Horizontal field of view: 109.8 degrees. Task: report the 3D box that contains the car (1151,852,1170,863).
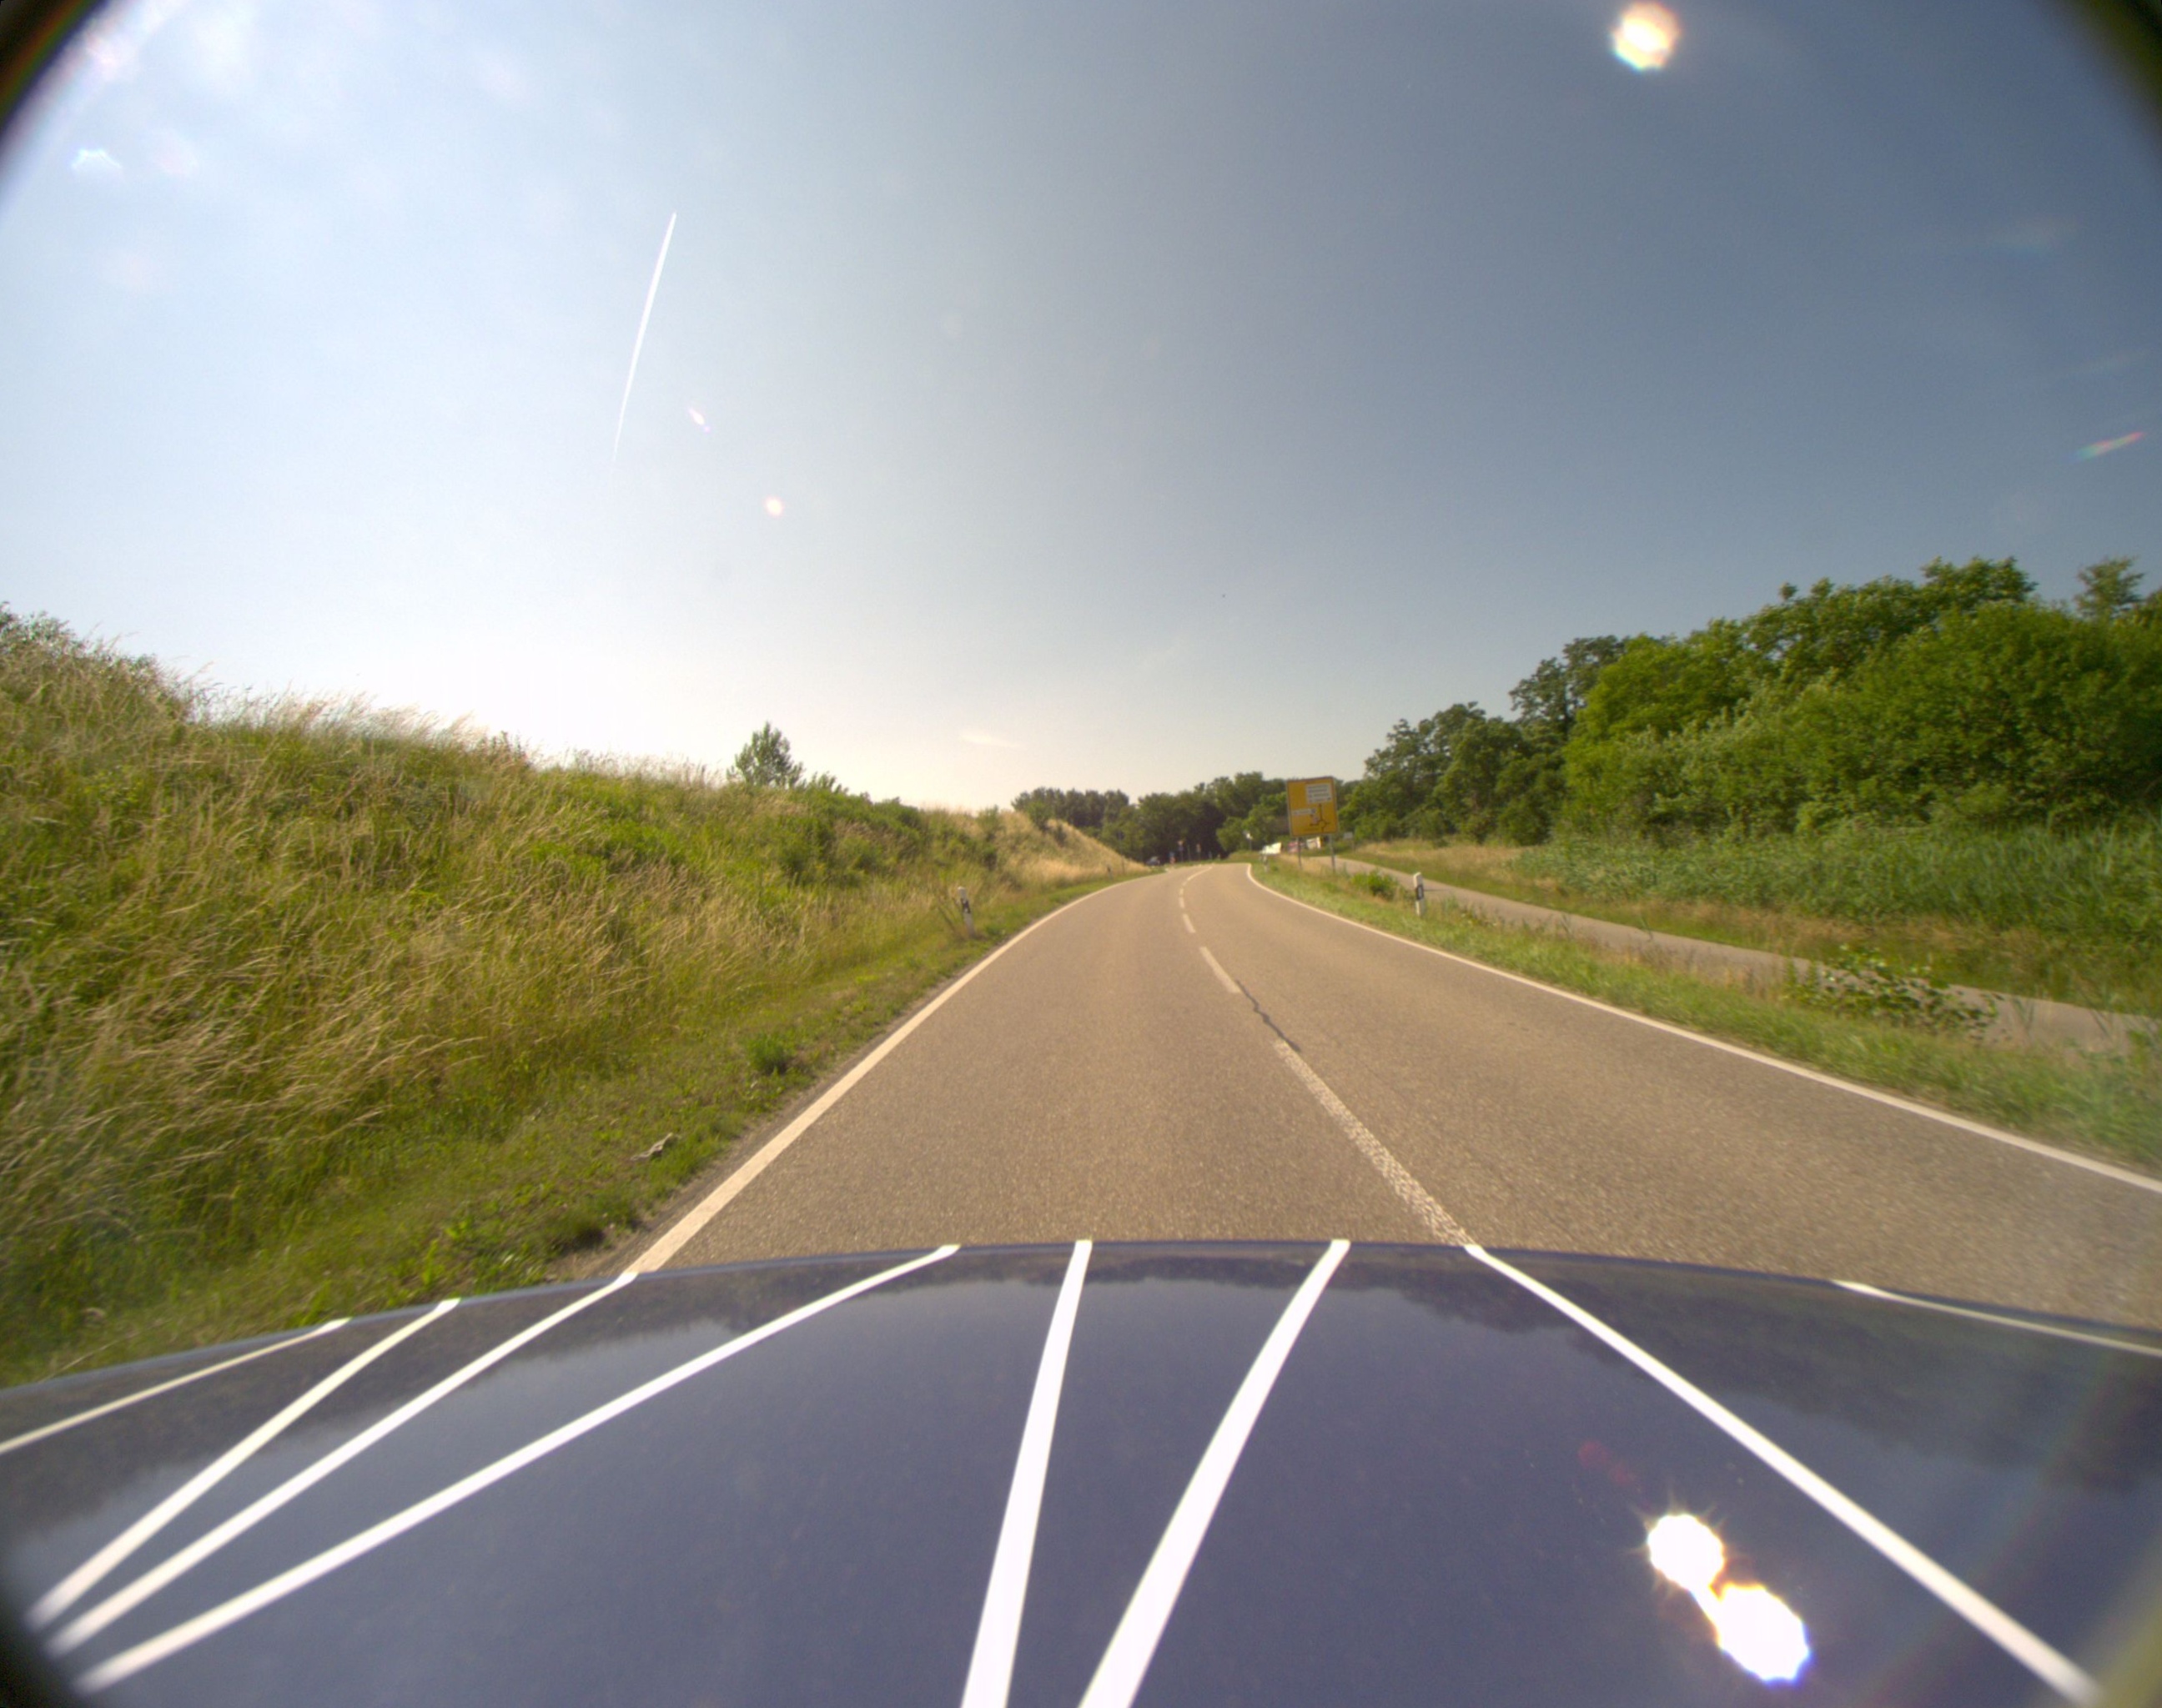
[{"bbox_3d":[13.613,0.680,129.640,1.708,1.646,4.347,-5,0,-14],"label":"car"}]
